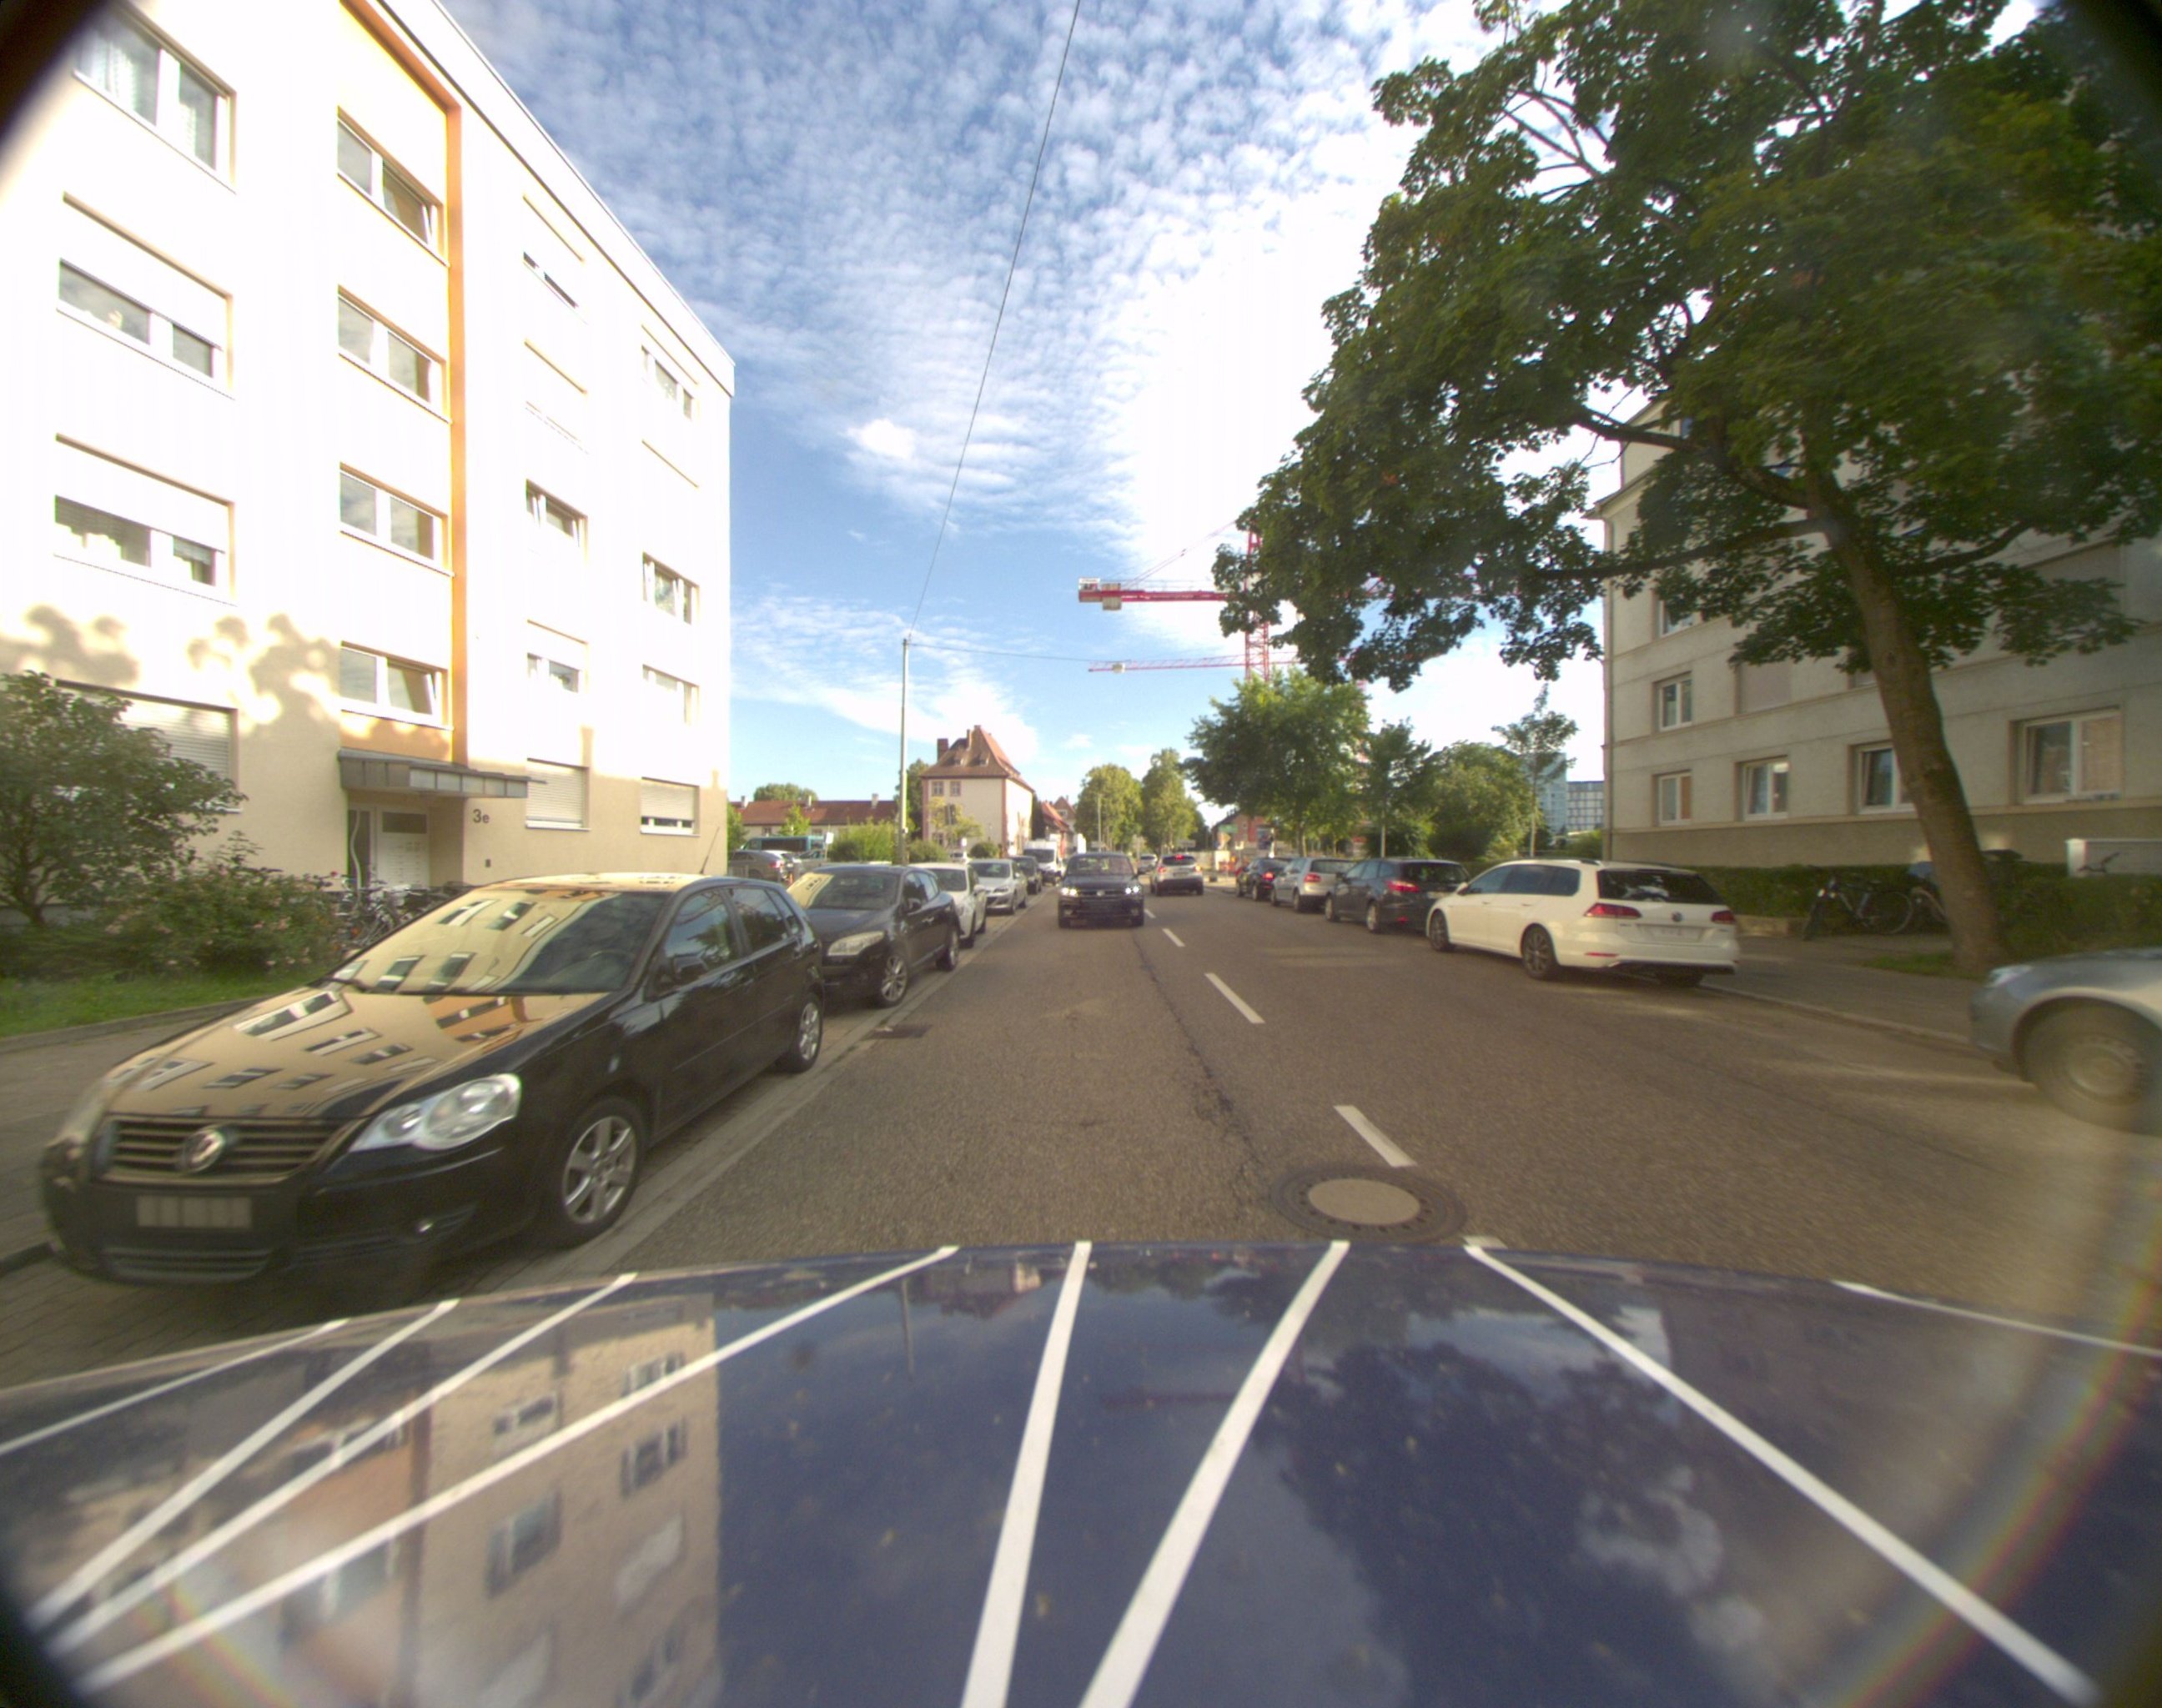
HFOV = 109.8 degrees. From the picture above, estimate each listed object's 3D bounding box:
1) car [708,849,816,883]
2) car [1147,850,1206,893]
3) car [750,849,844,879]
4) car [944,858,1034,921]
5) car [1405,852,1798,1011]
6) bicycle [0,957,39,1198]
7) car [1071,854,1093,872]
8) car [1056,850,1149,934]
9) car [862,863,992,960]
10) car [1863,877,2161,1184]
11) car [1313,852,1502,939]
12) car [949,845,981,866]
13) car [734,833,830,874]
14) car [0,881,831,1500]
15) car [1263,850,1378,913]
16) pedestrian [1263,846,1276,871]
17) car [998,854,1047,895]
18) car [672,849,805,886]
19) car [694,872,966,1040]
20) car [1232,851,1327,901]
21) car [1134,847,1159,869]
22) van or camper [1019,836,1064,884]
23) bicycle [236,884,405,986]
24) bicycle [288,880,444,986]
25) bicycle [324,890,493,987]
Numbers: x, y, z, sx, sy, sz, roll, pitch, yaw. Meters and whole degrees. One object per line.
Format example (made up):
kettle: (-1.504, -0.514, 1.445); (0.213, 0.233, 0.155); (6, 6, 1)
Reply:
car: (-14.368, 0.513, 34.308); (4.084, 1.473, 1.872); (0, 0, 10)
car: (3.621, 0.624, 29.445); (1.744, 1.493, 4.009); (-1, 0, 0)
car: (-14.457, 0.495, 38.775); (4.084, 1.473, 1.872); (0, 0, 10)
car: (-2.472, 0.913, 21.424); (1.767, 1.515, 4.330); (2, 0, 3)
car: (6.216, 0.778, 9.986); (1.860, 1.477, 4.798); (3, 0, 1)
bicycle: (-5.387, 1.067, 2.760); (0.525, 1.128, 1.929); (0, 0, 0)
car: (0.143, 0.731, 64.983); (1.662, 1.477, 4.001); (0, 0, 3)
car: (0.442, 0.776, 17.401); (1.859, 1.673, 4.000); (-1, 0, 0)
car: (-2.669, 0.930, 14.064); (1.688, 1.459, 4.205); (1, 0, -2)
car: (6.276, 0.903, 2.829); (1.860, 1.477, 4.683); (1, 0, 0)
car: (6.308, 0.719, 15.372); (1.860, 1.477, 4.684); (0, 0, 1)
car: (-9.953, 0.145, 65.474); (1.888, 1.709, 4.092); (-1, -1, 4)
car: (-16.455, -0.026, 41.901); (4.276, 2.179, 2.368); (0, 0, 8)
car: (-2.788, 0.965, 3.950); (1.688, 1.492, 3.873); (1, 0, 0)
car: (6.407, 0.677, 20.840); (1.825, 1.477, 4.369); (2, 0, 1)
pedestrian: (13.347, 0.304, 53.797); (0.743, 1.758, 0.775); (1, 0, 0)
car: (-2.463, 0.837, 32.715); (1.677, 1.593, 3.970); (3, 0, 0)
car: (-14.123, 0.537, 31.452); (4.675, 1.473, 1.871); (0, 0, 6)
car: (-2.636, 0.984, 9.095); (1.687, 1.427, 4.207); (1, 0, 2)
car: (6.560, 0.689, 25.651); (1.932, 1.477, 4.420); (2, 0, -1)
car: (5.337, 0.323, 62.347); (1.834, 1.659, 4.084); (-1, 0, 1)
van or camper: (-2.184, 0.325, 43.703); (2.165, 2.512, 5.914); (2, 0, 0)
bicycle: (-9.565, 0.978, 9.644); (0.523, 1.068, 1.590); (1, 2, 1)
bicycle: (-9.006, 0.954, 9.656); (0.446, 1.130, 1.590); (1, 2, 1)
bicycle: (-8.447, 1.020, 9.653); (0.597, 0.992, 1.692); (-1, 2, 1)
